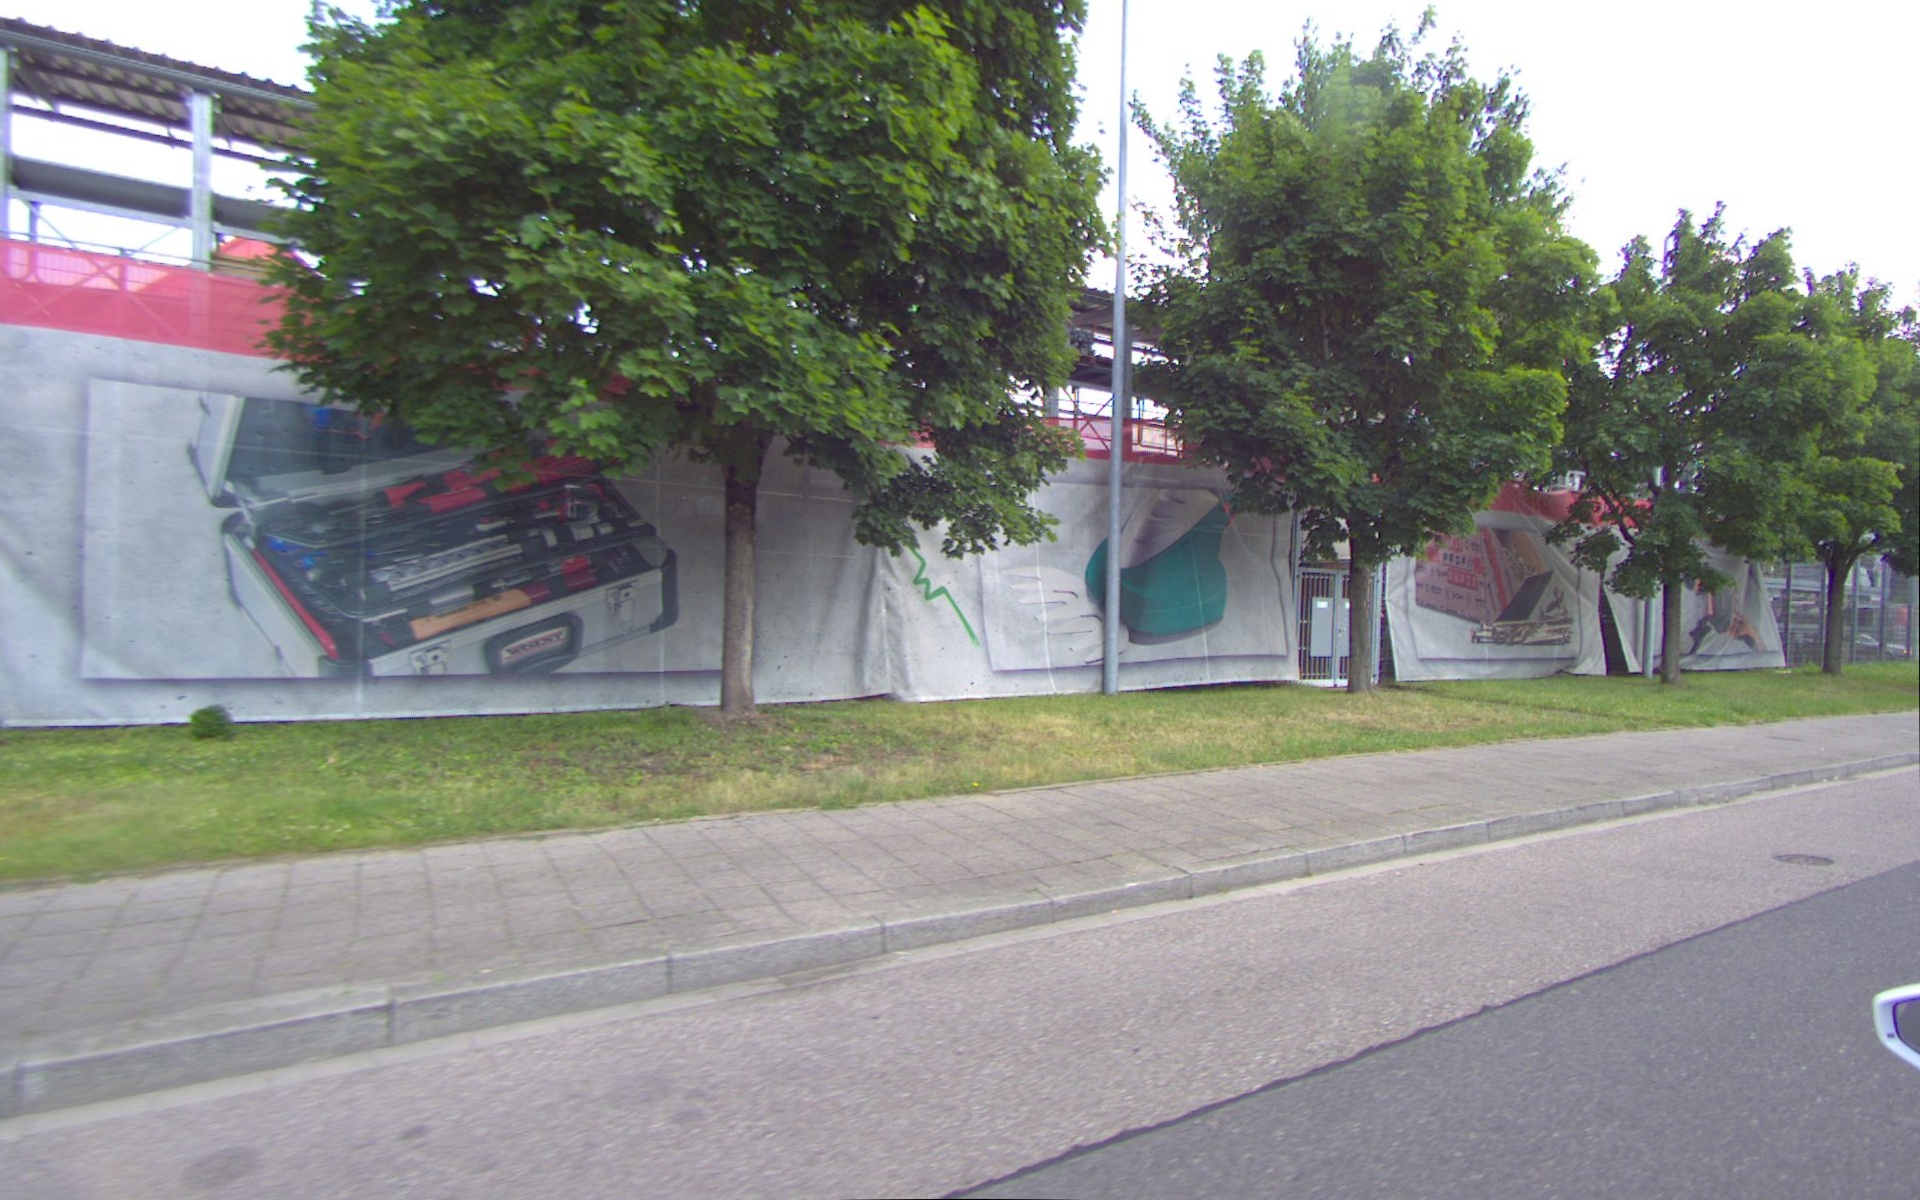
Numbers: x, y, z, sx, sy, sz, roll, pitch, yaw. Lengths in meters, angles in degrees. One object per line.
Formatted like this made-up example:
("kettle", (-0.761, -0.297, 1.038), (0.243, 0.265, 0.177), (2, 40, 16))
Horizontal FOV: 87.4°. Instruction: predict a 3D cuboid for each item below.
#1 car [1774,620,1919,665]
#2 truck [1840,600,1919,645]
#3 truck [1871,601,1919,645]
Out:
("car", (35.213, 1.629, 39.444), (1.931, 1.473, 4.662), (1, 0, -30))
("truck", (57.922, 1.394, 61.504), (1.793, 2.628, 5.729), (3, 0, -29))
("truck", (60.923, 1.503, 62.782), (1.759, 2.628, 5.520), (3, 0, -30))
